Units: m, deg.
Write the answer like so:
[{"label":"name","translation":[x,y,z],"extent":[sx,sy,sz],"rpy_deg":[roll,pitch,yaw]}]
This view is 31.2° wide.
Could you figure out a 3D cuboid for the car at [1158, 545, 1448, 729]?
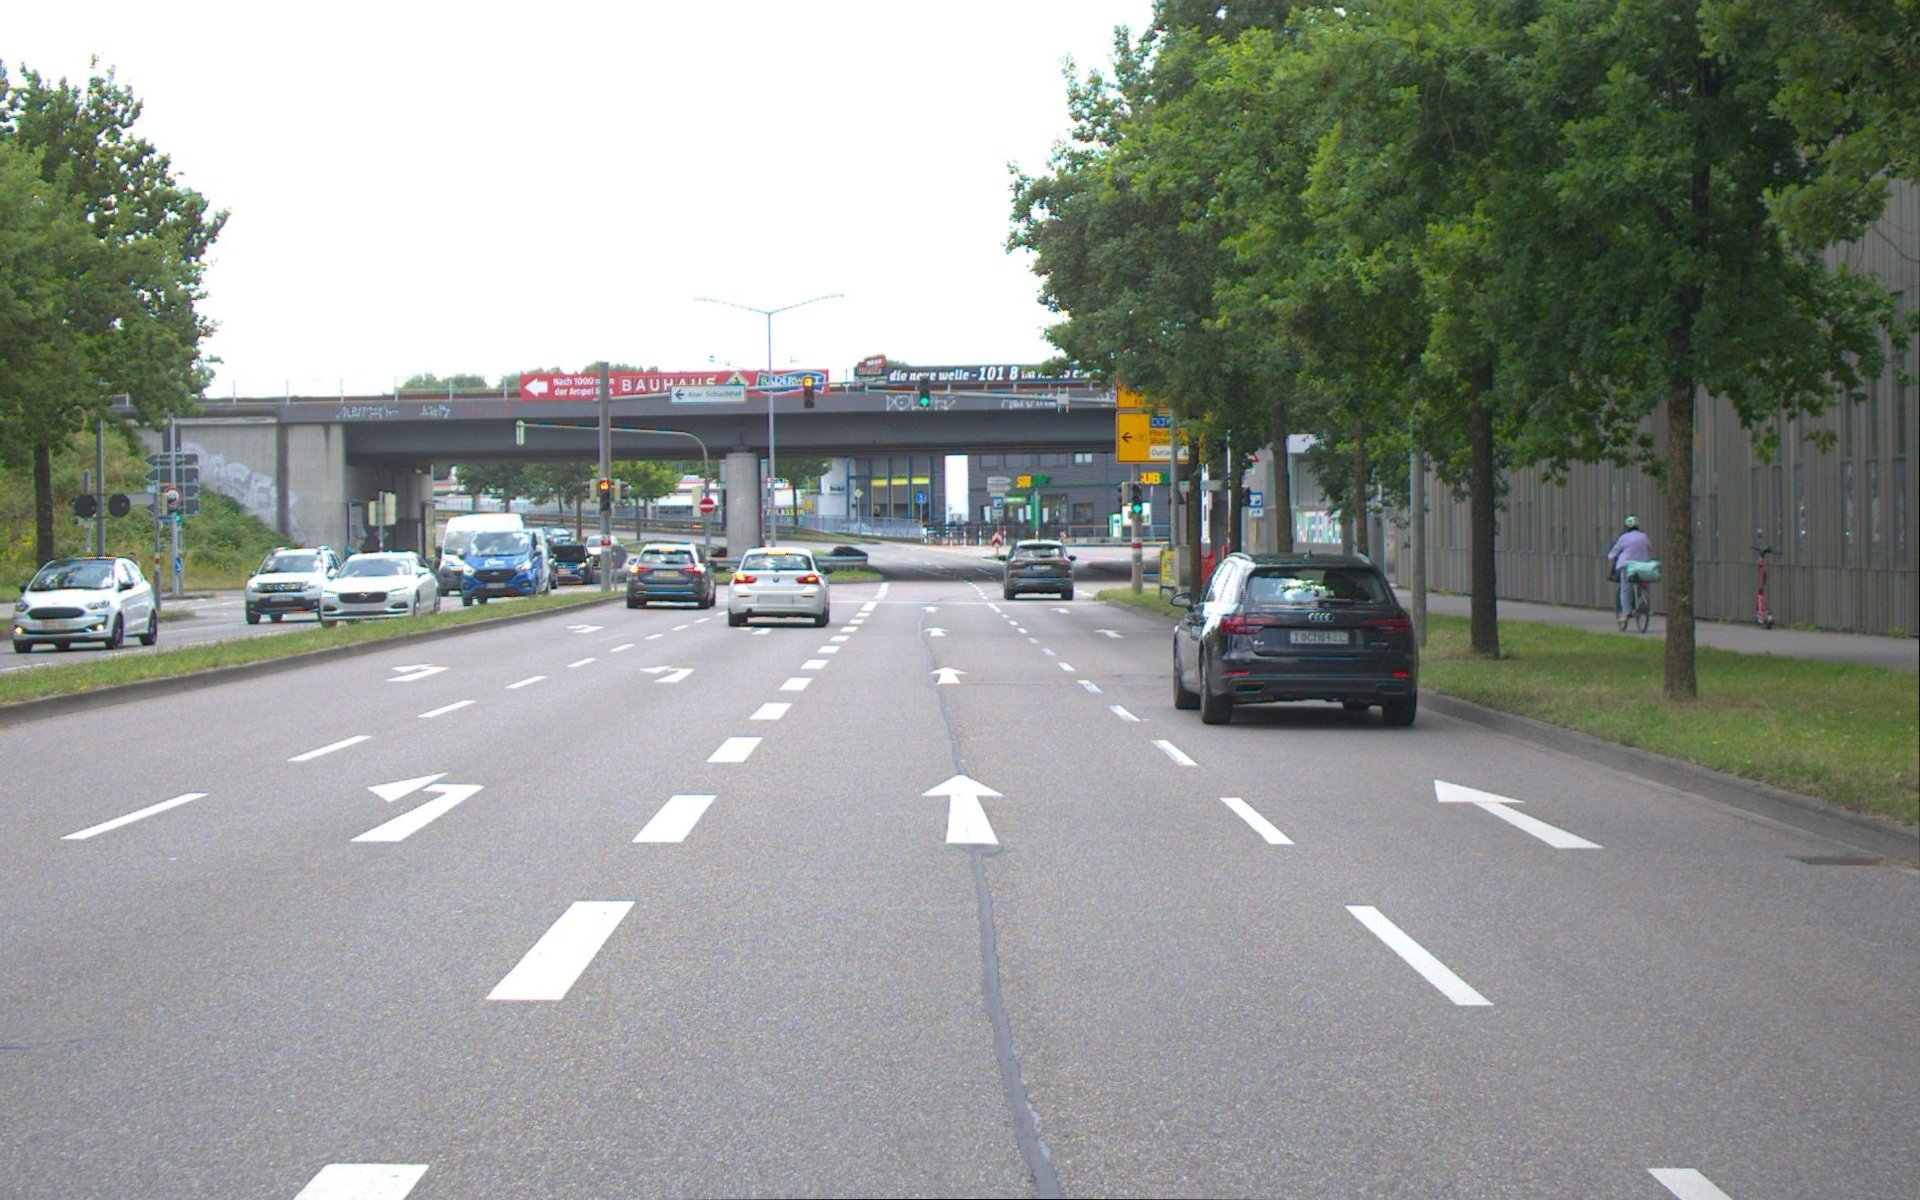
[{"label":"car","translation":[2.891,0.259,29.950],"extent":[1.993,1.385,4.576],"rpy_deg":[1,2,-1]}]

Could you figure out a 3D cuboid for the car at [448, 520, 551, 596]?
[{"label":"car","translation":[-12.265,-1.149,91.890],"extent":[2.190,1.957,5.194],"rpy_deg":[-1,1,-2]}]

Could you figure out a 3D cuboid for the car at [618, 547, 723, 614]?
[{"label":"car","translation":[-6.506,-0.475,77.671],"extent":[1.993,1.410,4.832],"rpy_deg":[1,1,-1]}]

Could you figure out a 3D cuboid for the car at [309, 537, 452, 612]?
[{"label":"car","translation":[-11.524,-0.531,68.695],"extent":[1.993,1.426,5.024],"rpy_deg":[-1,1,0]}]

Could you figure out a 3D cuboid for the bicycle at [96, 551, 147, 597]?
[{"label":"bicycle","translation":[-23.965,-0.746,98.270],"extent":[0.822,1.266,2.393],"rpy_deg":[1,1,1]}]

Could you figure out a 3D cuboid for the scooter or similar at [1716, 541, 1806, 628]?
[{"label":"scooter or similar","translation":[11.790,-0.245,50.686],"extent":[0.704,1.242,2.480],"rpy_deg":[-1,1,0]}]

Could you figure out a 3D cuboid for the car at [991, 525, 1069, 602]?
[{"label":"car","translation":[1.887,-1.011,94.292],"extent":[1.993,2.030,4.713],"rpy_deg":[-1,1,0]}]

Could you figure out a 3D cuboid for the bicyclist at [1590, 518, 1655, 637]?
[{"label":"bicyclist","translation":[9.959,-0.345,51.692],"extent":[0.715,1.763,0.989],"rpy_deg":[-1,1,-4]}]

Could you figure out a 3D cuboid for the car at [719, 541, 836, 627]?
[{"label":"car","translation":[-3.302,-0.315,62.882],"extent":[1.915,1.410,4.296],"rpy_deg":[2,1,-1]}]

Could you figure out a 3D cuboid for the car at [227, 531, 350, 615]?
[{"label":"car","translation":[-15.024,-0.628,77.118],"extent":[1.993,1.795,4.410],"rpy_deg":[-1,1,-2]}]

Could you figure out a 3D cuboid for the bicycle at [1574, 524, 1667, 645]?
[{"label":"bicycle","translation":[9.947,-0.253,51.842],"extent":[0.719,1.768,2.534],"rpy_deg":[-1,1,-4]}]

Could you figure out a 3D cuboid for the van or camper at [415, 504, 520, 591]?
[{"label":"van or camper","translation":[-14.950,-1.608,104.735],"extent":[2.351,2.531,7.065],"rpy_deg":[0,1,-2]}]

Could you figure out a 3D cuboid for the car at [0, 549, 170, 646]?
[{"label":"car","translation":[-14.446,-0.073,56.585],"extent":[1.914,1.438,4.415],"rpy_deg":[-3,1,-1]}]
